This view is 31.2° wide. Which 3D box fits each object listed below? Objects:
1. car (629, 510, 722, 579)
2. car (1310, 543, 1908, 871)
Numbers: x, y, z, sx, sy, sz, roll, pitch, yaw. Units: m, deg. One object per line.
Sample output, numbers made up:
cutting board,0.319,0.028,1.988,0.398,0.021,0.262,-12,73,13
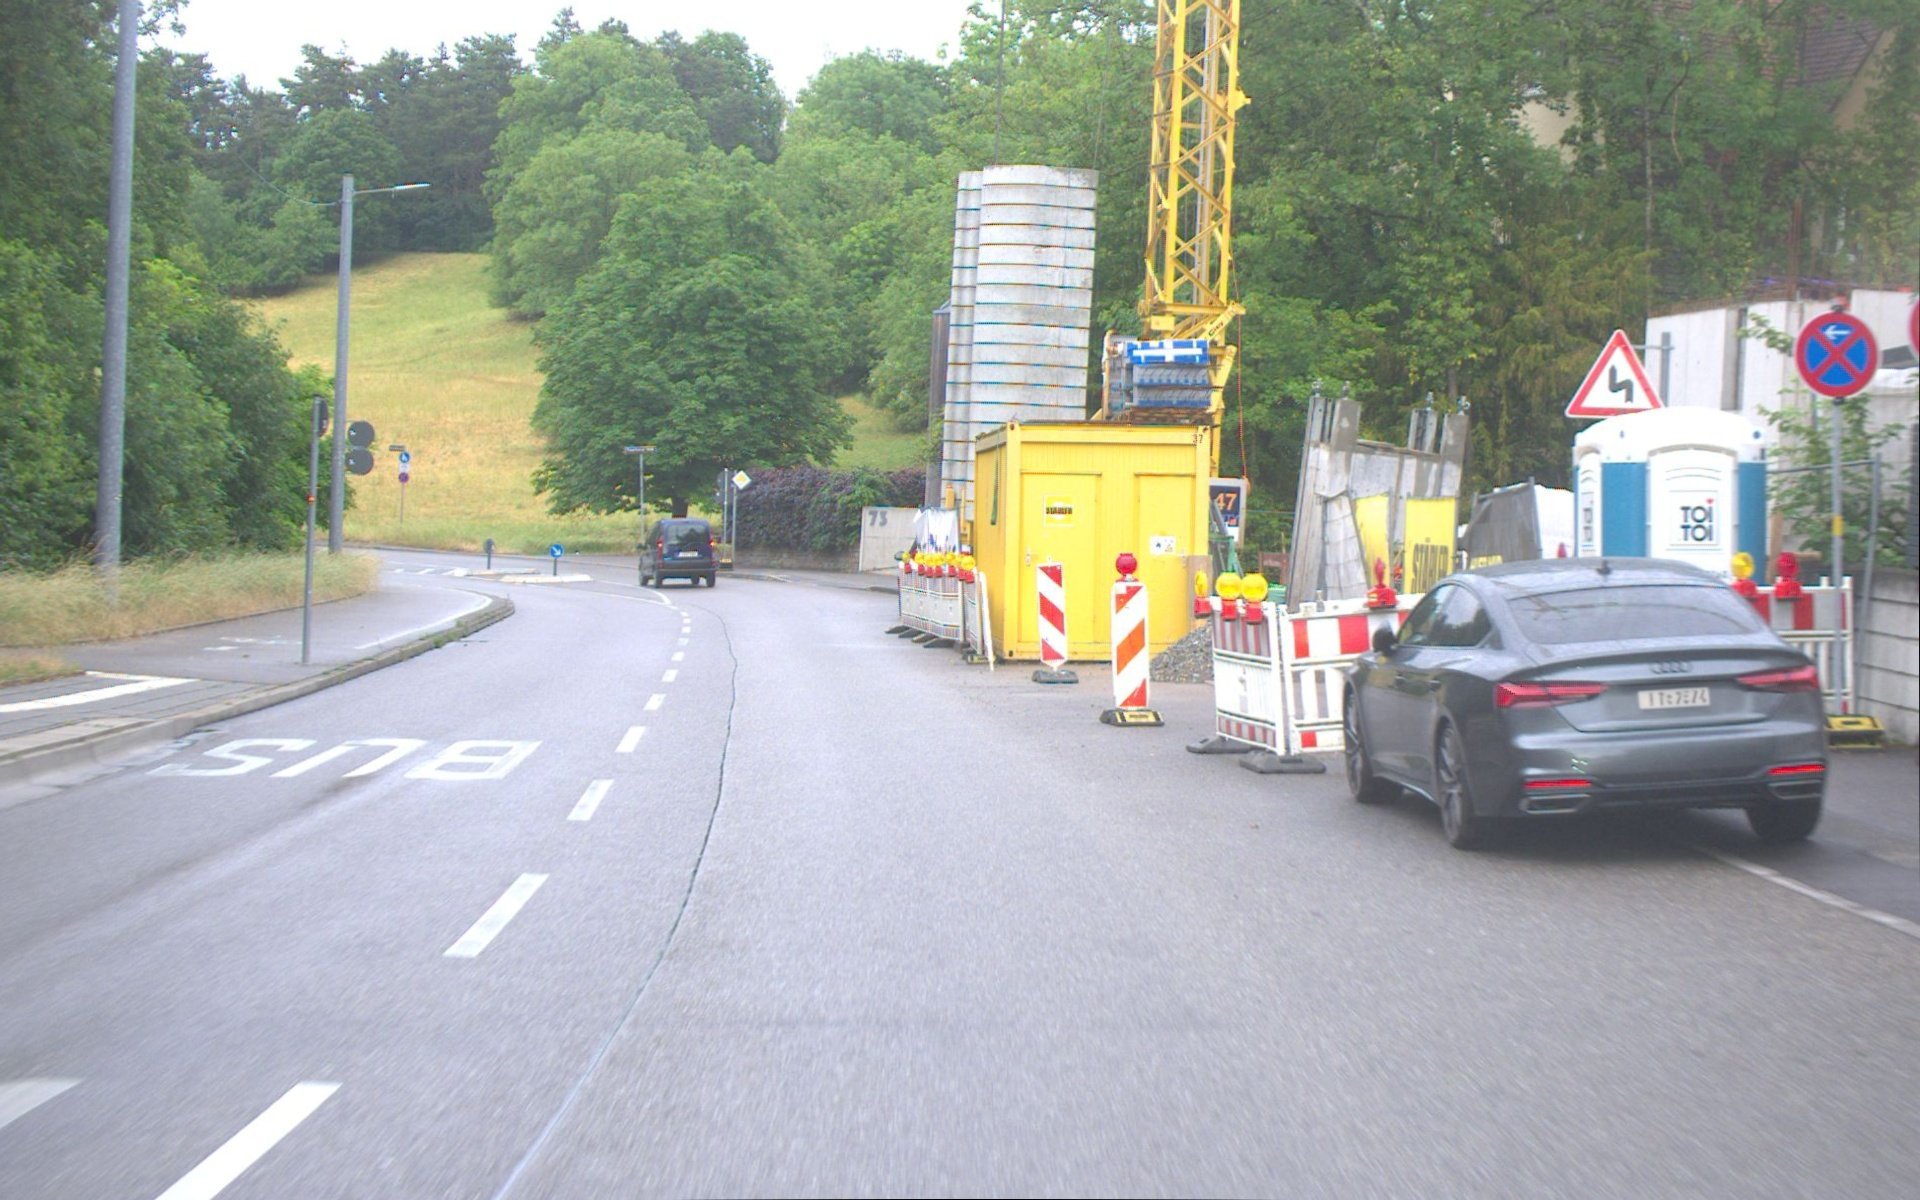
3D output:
car,-7.669,-1.498,92.343,1.931,1.745,4.002,1,2,-12
car,3.255,0.453,18.324,1.931,1.417,4.838,-2,1,-4
